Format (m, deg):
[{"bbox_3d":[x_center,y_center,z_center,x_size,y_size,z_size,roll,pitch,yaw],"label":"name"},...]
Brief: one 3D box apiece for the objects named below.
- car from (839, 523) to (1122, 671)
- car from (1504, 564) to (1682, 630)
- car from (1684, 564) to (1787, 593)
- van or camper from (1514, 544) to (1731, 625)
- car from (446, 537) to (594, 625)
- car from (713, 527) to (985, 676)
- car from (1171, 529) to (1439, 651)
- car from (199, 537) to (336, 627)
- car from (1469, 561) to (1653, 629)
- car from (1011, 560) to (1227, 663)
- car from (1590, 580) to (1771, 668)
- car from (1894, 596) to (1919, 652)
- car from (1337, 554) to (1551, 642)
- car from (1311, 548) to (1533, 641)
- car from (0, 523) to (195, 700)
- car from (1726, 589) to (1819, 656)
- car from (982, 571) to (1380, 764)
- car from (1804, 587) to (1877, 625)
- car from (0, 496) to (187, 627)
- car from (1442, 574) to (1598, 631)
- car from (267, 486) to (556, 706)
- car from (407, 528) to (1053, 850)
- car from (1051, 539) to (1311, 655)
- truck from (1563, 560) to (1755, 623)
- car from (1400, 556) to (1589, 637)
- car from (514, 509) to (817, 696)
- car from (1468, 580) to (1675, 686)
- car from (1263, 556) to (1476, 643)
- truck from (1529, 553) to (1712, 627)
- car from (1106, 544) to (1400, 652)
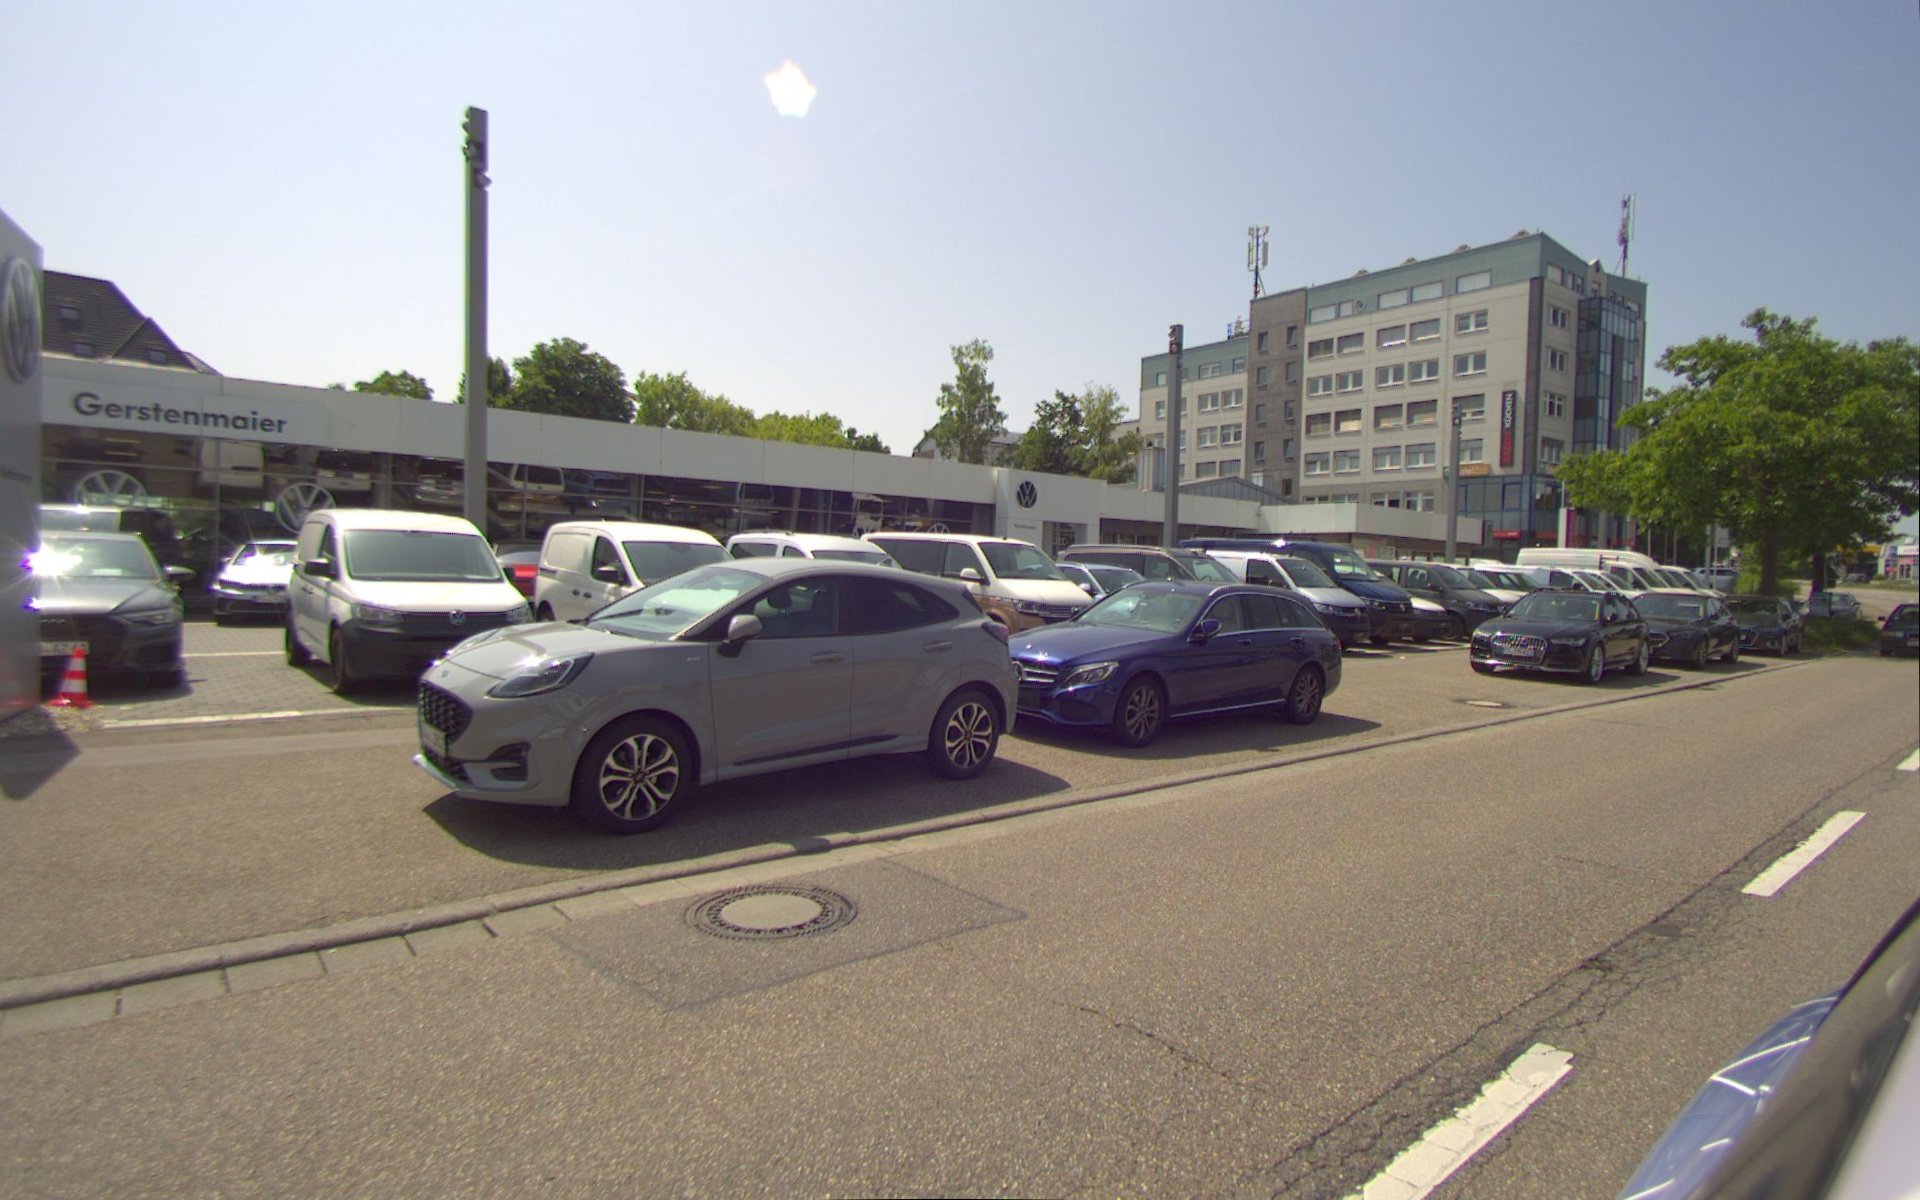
[{"bbox_3d":[0.176,-0.173,16.478,1.926,2.038,4.650,1,3,-41],"label":"car"},{"bbox_3d":[22.426,-0.178,36.009,2.122,2.139,4.957,0,2,-41],"label":"car"},{"bbox_3d":[47.958,-1.326,62.694,4.689,1.734,1.984,0,2,25],"label":"car"},{"bbox_3d":[26.128,-0.706,40.218,2.236,2.933,6.810,0,2,-41],"label":"van or camper"},{"bbox_3d":[-8.988,-0.421,20.484,1.825,1.590,3.998,0,2,-38],"label":"car"},{"bbox_3d":[-1.718,-0.121,14.478,1.849,1.802,4.159,-2,5,-41],"label":"car"},{"bbox_3d":[8.016,-0.294,24.164,2.165,2.555,5.859,-2,2,-38],"label":"car"},{"bbox_3d":[-12.152,-0.354,17.950,1.550,1.430,3.441,1,2,-27],"label":"car"},{"bbox_3d":[20.318,-0.248,34.391,2.104,1.995,4.924,-1,4,-40],"label":"car"},{"bbox_3d":[2.663,0.143,17.622,1.683,1.590,3.643,0,1,-35],"label":"car"},{"bbox_3d":[15.508,0.432,21.668,5.071,1.548,1.965,0,4,-41],"label":"car"},{"bbox_3d":[25.443,0.607,26.224,1.694,1.391,3.936,1,1,44],"label":"car"},{"bbox_3d":[13.708,-0.156,28.952,2.005,2.122,5.076,0,4,-41],"label":"car"},{"bbox_3d":[12.198,-0.215,27.012,2.092,2.140,4.910,1,3,-41],"label":"car"},{"bbox_3d":[-9.143,-0.008,10.270,1.965,1.464,4.543,0,2,-40],"label":"car"},{"bbox_3d":[20.593,0.503,25.753,1.678,1.453,4.379,2,3,38],"label":"car"},{"bbox_3d":[2.522,0.510,10.669,4.710,1.567,1.716,-1,3,-43],"label":"car"},{"bbox_3d":[35.935,0.225,41.265,4.247,1.423,1.799,-1,1,-43],"label":"car"},{"bbox_3d":[-14.278,-0.636,16.432,1.961,1.846,4.386,1,2,-27],"label":"car"},{"bbox_3d":[18.186,0.037,32.956,4.025,1.488,1.884,7,4,43],"label":"car"},{"bbox_3d":[-6.143,-0.149,11.063,1.876,1.905,4.421,-1,3,-41],"label":"car"},{"bbox_3d":[-1.321,0.410,7.034,1.733,1.572,4.114,2,1,44],"label":"car"},{"bbox_3d":[4.204,-0.059,19.972,1.968,2.009,4.797,2,-1,-40],"label":"car"},{"bbox_3d":[29.571,-0.428,43.066,2.326,2.365,6.262,1,3,-39],"label":"truck"},{"bbox_3d":[16.133,-0.195,30.751,2.159,2.037,4.522,-2,6,-39],"label":"car"},{"bbox_3d":[-3.847,-0.044,12.655,1.825,1.912,4.563,1,1,-42],"label":"car"},{"bbox_3d":[10.958,0.473,17.958,5.071,1.498,1.857,-1,5,-44],"label":"car"},{"bbox_3d":[10.249,-0.086,25.616,1.918,1.873,4.577,1,3,-41],"label":"car"},{"bbox_3d":[24.532,-0.437,37.785,2.073,2.465,5.262,0,3,-39],"label":"truck"},{"bbox_3d":[6.154,-0.055,22.028,2.219,2.039,5.905,1,0,-40],"label":"car"}]
